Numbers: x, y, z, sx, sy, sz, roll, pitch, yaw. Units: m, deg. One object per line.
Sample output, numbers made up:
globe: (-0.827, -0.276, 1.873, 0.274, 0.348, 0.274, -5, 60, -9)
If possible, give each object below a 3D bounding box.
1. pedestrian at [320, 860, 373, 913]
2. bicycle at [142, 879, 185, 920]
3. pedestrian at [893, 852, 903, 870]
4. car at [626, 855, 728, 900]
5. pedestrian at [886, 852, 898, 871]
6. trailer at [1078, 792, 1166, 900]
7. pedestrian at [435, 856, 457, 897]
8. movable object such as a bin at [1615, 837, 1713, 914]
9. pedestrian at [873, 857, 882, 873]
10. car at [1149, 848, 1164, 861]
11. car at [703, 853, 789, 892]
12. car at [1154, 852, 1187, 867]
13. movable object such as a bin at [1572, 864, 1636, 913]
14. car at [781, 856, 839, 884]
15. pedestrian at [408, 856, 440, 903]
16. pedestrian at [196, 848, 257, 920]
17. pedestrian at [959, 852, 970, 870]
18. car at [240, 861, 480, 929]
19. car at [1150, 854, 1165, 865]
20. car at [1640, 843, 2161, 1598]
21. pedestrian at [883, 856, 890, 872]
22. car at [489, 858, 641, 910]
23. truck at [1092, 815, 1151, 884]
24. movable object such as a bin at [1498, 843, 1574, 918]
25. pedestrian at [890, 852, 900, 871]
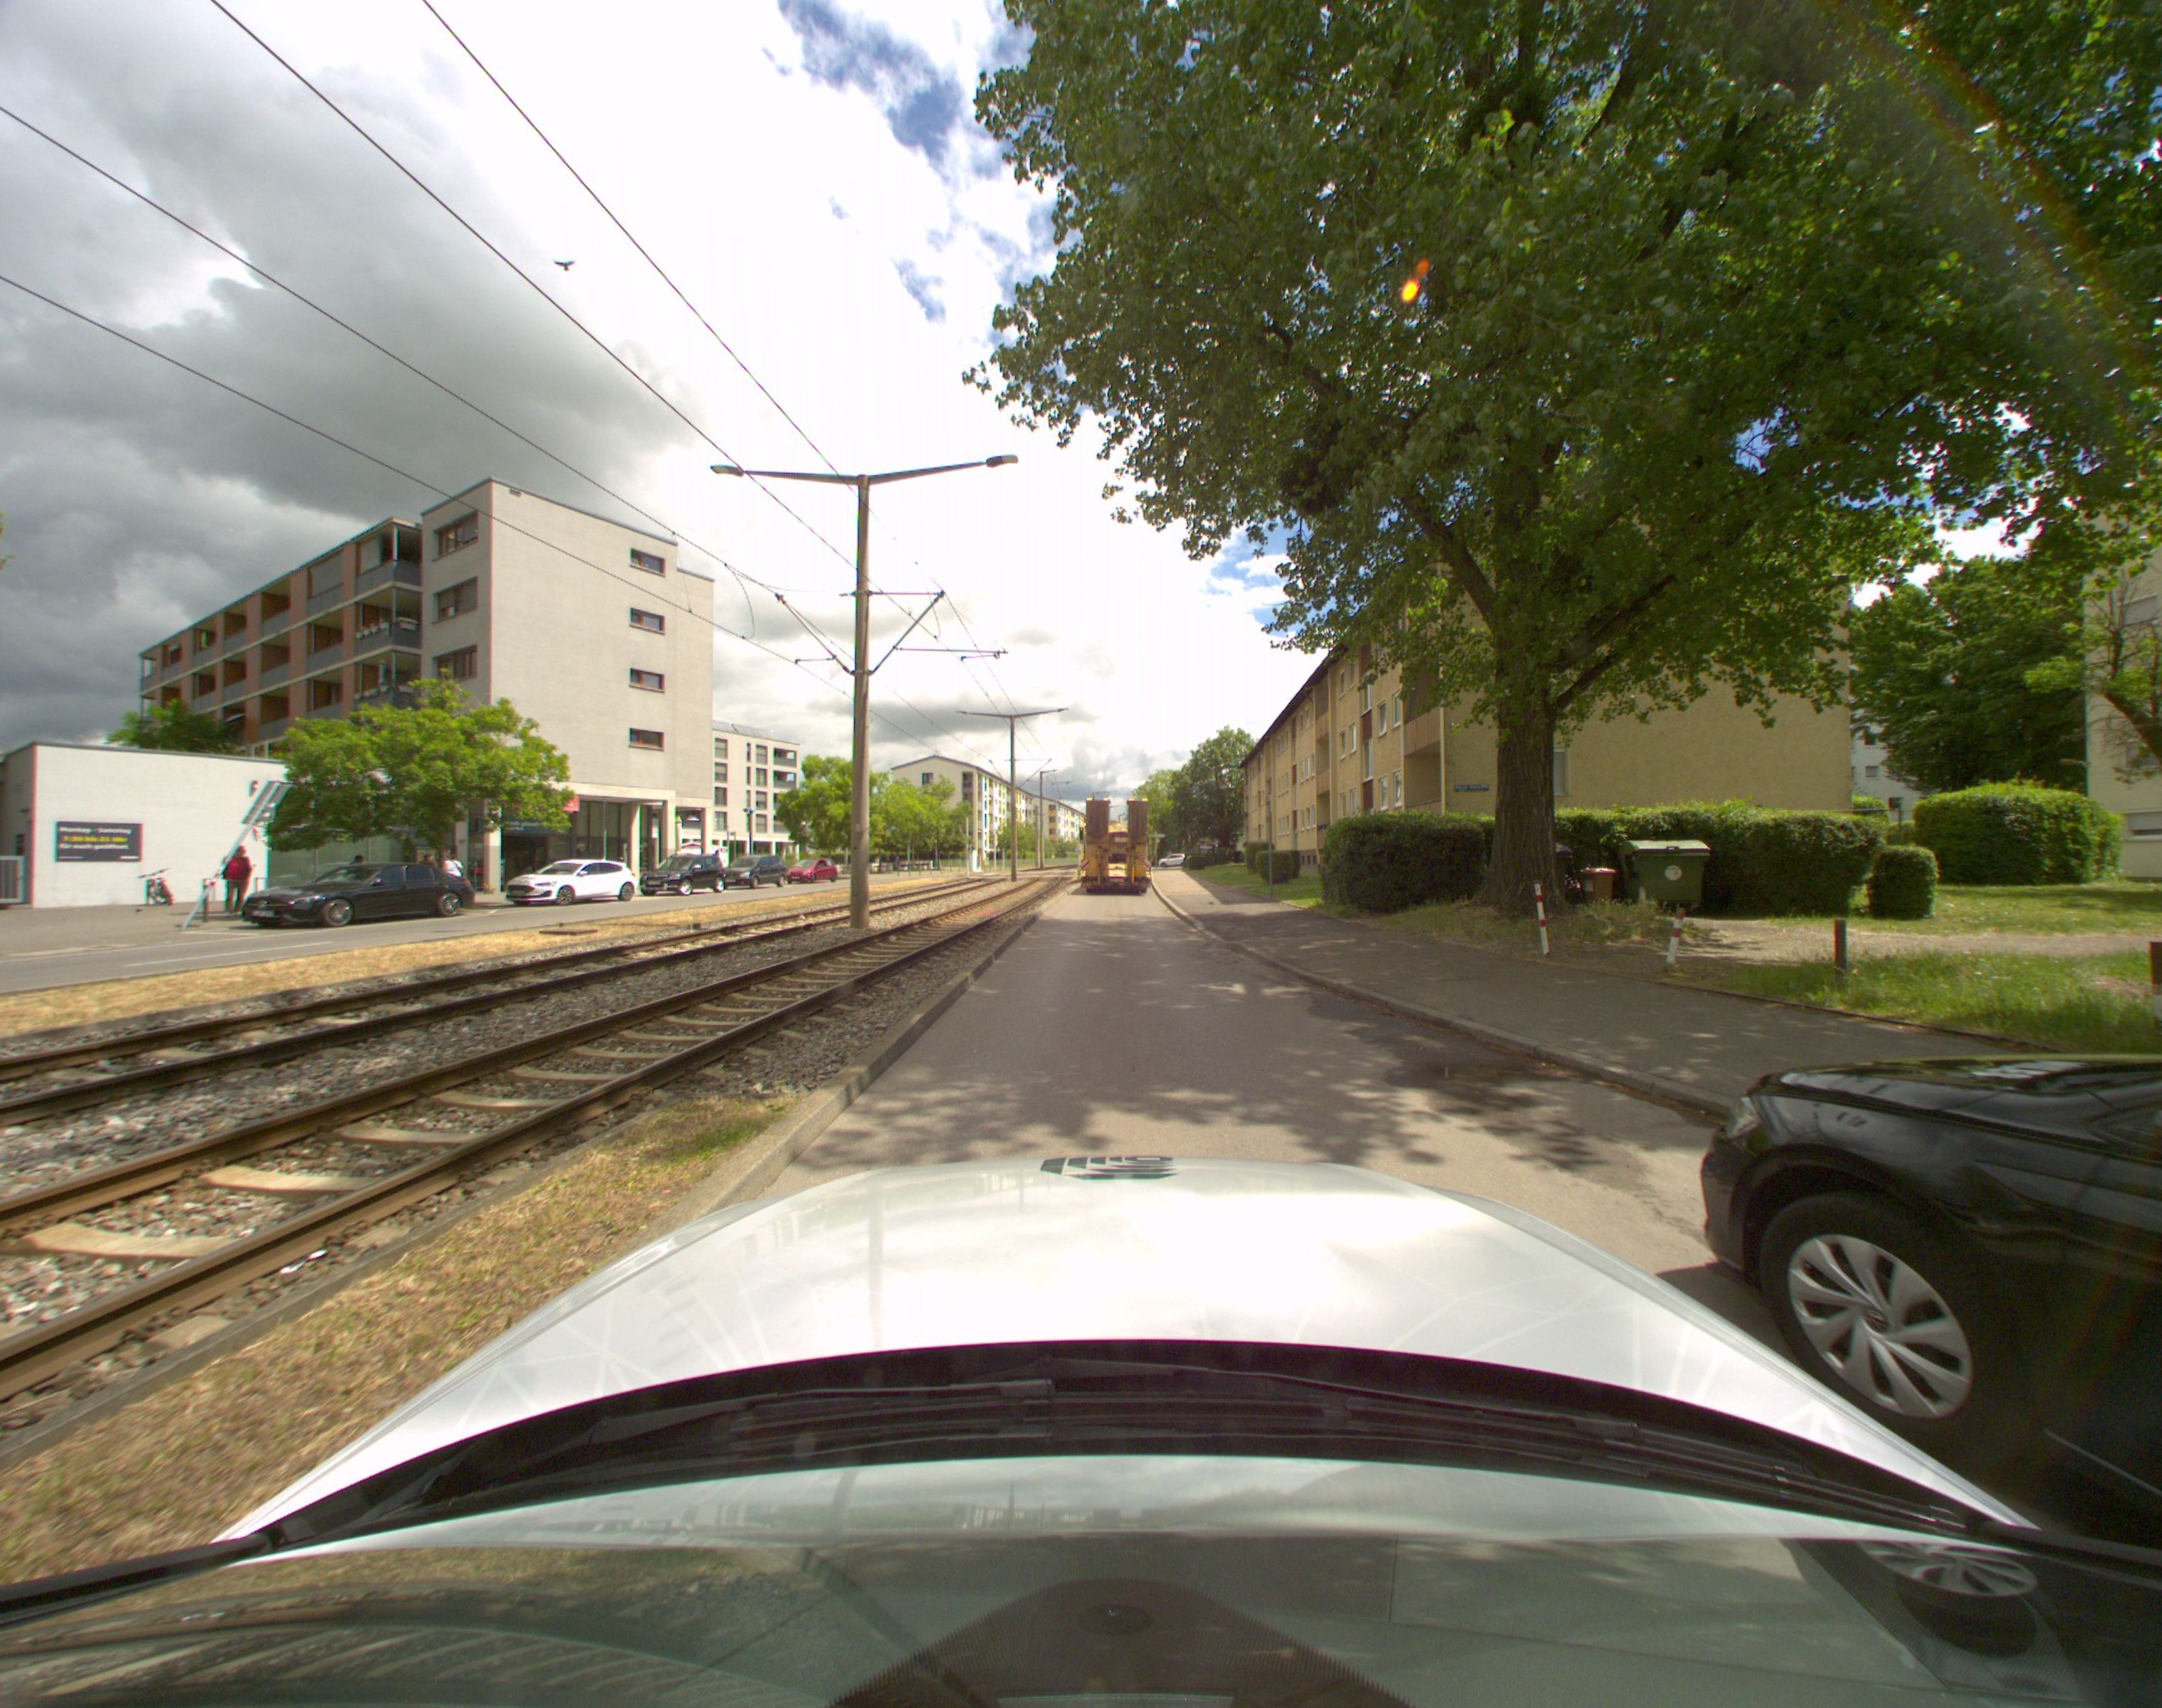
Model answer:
pedestrian: (-21.912, 0.953, 24.308, 0.596, 1.534, 0.977, -2, 0, 16)
bicycle: (-29.033, 1.417, 25.769, 1.948, 1.212, 0.673, -1, 0, 35)
pedestrian: (-16.004, 0.597, 71.118, 0.619, 1.573, 0.559, -2, 0, 10)
car: (-16.452, 0.914, 33.420, 1.986, 1.662, 4.102, 0, 1, 2)
pedestrian: (-16.212, 0.625, 69.843, 0.618, 1.573, 0.701, -2, 0, 15)
trailer: (1.708, -0.362, 35.017, 3.039, 3.772, 11.619, -2, 1, 2)
pedestrian: (-23.536, 0.824, 30.186, 0.499, 1.460, 0.556, -2, 0, -24)
movable object such as a bin: (11.536, 0.413, 16.150, 1.164, 1.439, 1.058, -2, 0, 2)
pedestrian: (-19.536, 1.045, 78.082, 0.539, 1.547, 0.532, -2, 0, 25)
car: (10.146, 0.103, 109.831, 1.985, 1.618, 4.005, -2, 1, 4)
car: (-16.035, 0.848, 39.214, 1.983, 1.648, 4.108, -2, 1, 7)
car: (10.503, 0.629, 95.574, 3.570, 1.584, 2.008, -2, -1, 16)
movable object such as a bin: (10.458, 0.688, 16.310, 0.799, 0.915, 0.762, -2, 0, 2)
car: (-15.314, 0.883, 46.180, 1.603, 1.426, 3.433, -2, 1, 11)
pedestrian: (-22.846, 0.884, 28.318, 0.666, 1.573, 0.683, -2, 0, -24)
pedestrian: (-22.128, 0.759, 21.102, 0.608, 1.792, 0.844, -2, 0, 3)
pedestrian: (-10.743, 0.645, 75.296, 0.745, 1.661, 0.871, -2, 0, 8)
car: (-17.576, 0.919, 20.201, 1.725, 1.428, 4.389, -1, 0, 7)
car: (10.713, 0.744, 114.536, 1.985, 1.387, 4.005, -2, 1, 4)
car: (3.028, 0.733, 1.187, 1.809, 1.448, 3.826, -2, 1, 0)
pedestrian: (-16.324, 0.829, 68.428, 0.501, 1.267, 0.497, -2, 0, -19)
car: (-17.116, 0.953, 27.314, 1.743, 1.475, 4.412, -2, 1, 10)
truck: (2.150, -0.264, 43.969, 2.823, 3.330, 7.989, -2, 1, 2)
movable object such as a bin: (9.112, 0.524, 16.340, 1.094, 1.439, 0.762, -2, 0, 1)
pedestrian: (-16.125, 0.637, 70.521, 0.618, 1.573, 0.560, -2, 0, 15)
